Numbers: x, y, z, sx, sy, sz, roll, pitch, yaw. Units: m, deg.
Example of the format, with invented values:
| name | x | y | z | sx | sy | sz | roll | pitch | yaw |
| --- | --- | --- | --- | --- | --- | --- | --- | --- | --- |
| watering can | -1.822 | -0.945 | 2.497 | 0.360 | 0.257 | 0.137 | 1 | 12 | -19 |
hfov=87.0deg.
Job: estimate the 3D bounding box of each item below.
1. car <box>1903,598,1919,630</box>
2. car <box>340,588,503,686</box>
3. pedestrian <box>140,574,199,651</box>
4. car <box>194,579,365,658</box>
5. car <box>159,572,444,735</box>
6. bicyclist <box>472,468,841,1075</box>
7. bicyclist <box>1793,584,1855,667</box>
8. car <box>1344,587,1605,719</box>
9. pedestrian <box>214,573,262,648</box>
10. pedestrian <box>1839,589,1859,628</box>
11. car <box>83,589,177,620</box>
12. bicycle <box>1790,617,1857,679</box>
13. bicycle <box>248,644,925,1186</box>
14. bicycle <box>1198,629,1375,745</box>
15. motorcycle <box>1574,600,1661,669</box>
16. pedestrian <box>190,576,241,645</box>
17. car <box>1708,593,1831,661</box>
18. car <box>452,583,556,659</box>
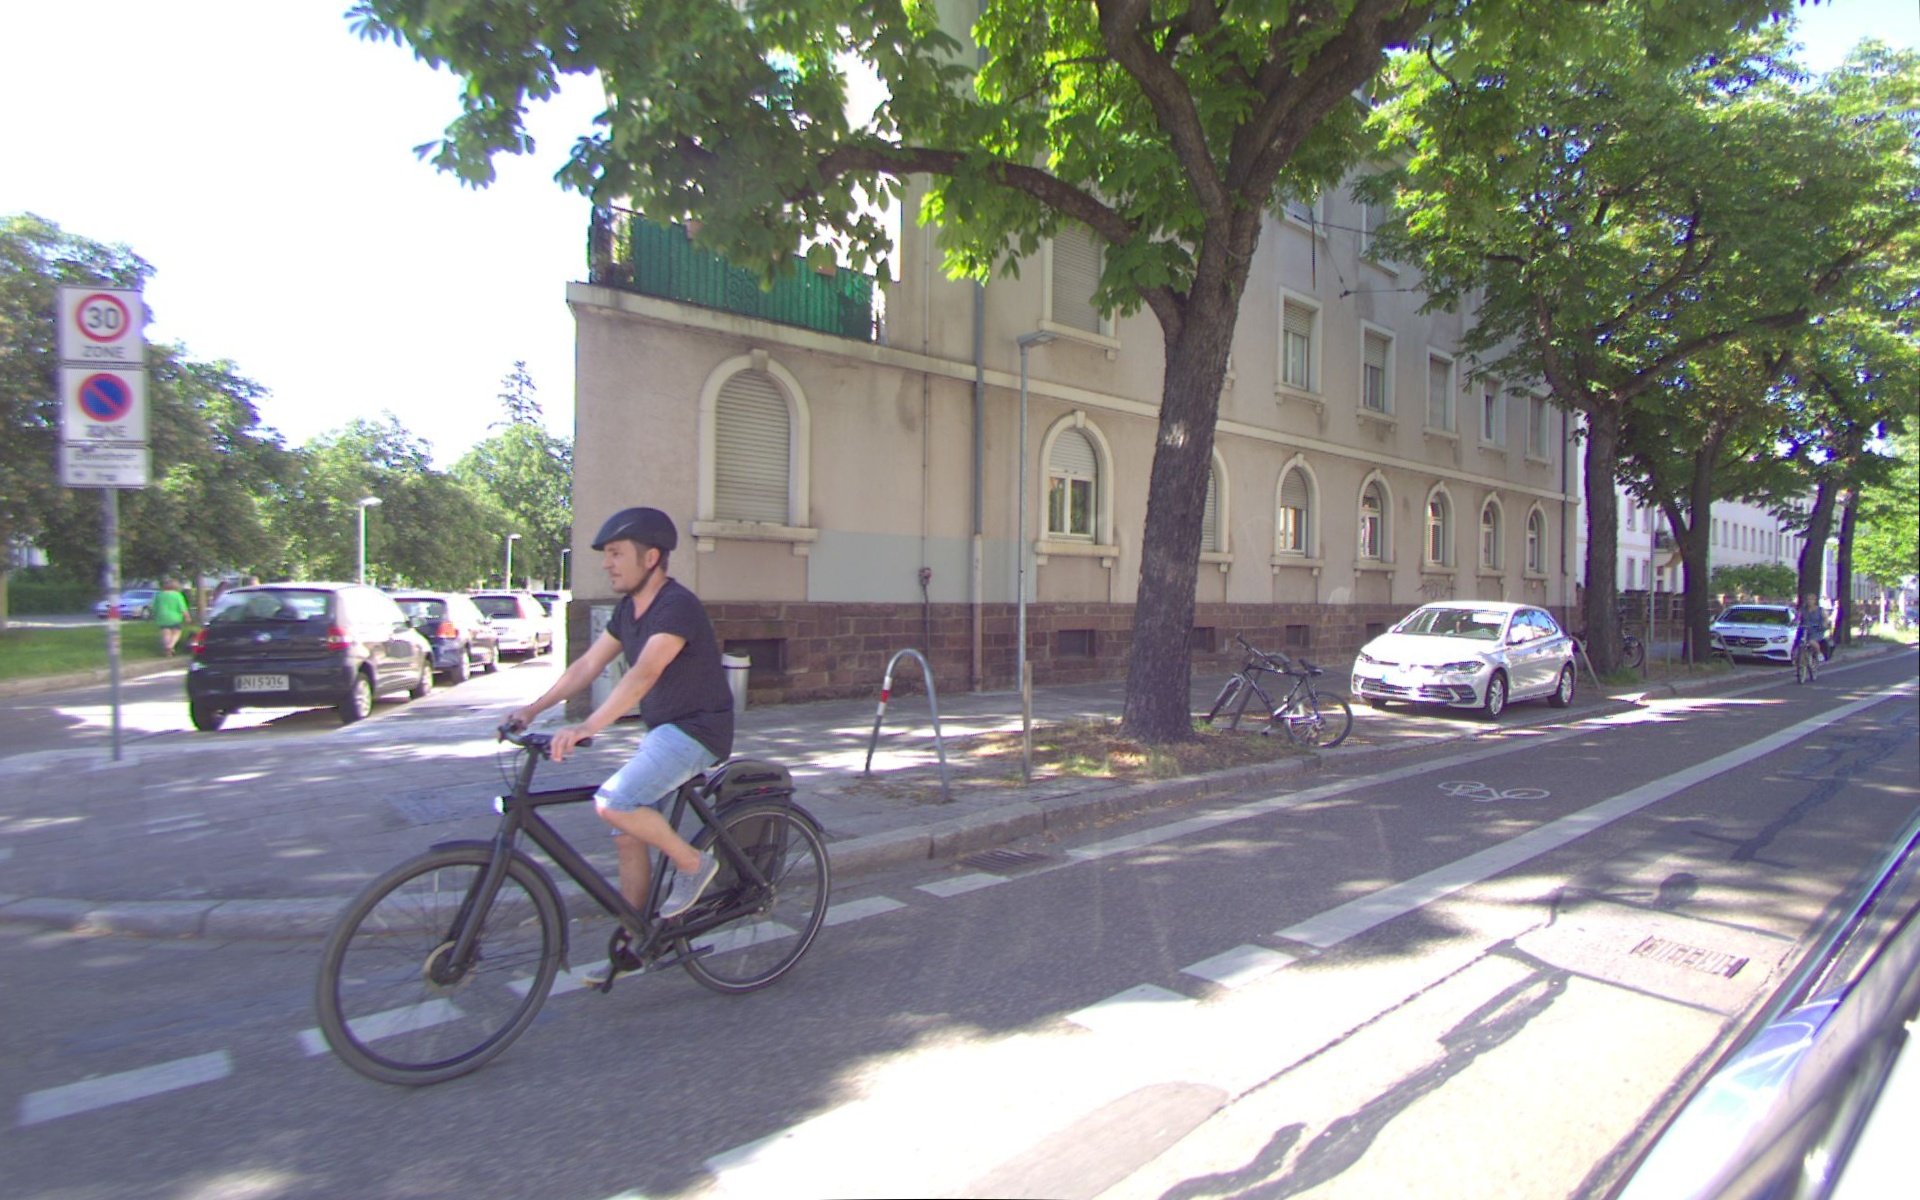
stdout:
| name | x | y | z | sx | sy | sz | roll | pitch | yaw |
| --- | --- | --- | --- | --- | --- | --- | --- | --- | --- |
| car | 46.160 | 0.674 | 48.046 | 4.537 | 1.485 | 1.758 | 0 | 2 | -44 |
| car | -8.761 | 0.524 | 16.726 | 1.539 | 1.415 | 3.366 | -1 | 1 | -13 |
| pedestrian | -16.709 | 0.255 | 21.408 | 0.826 | 1.588 | 0.575 | 0 | 0 | -17 |
| car | -15.908 | 0.359 | 23.970 | 1.895 | 1.629 | 4.629 | -2 | 1 | -15 |
| car | -7.519 | 0.513 | 11.955 | 1.687 | 1.557 | 3.447 | -3 | 1 | -13 |
| bicyclist | -1.062 | 0.496 | 3.572 | 1.028 | 1.761 | 0.762 | 0 | -1 | -41 |
| bicyclist | 16.593 | 0.463 | 19.431 | 1.209 | 1.533 | 0.775 | 0 | 0 | -44 |
| car | 7.103 | 0.611 | 13.801 | 4.140 | 1.490 | 1.705 | 0 | 2 | -41 |
| pedestrian | -18.091 | 0.251 | 25.369 | 0.826 | 1.865 | 0.575 | 0 | 0 | -17 |
| pedestrian | 46.071 | 0.436 | 52.433 | 0.740 | 2.039 | 0.678 | 1 | 0 | 41 |
| car | -37.194 | 0.169 | 45.456 | 1.770 | 1.236 | 3.878 | 3 | 0 | -15 |
| bicycle | 16.586 | 0.893 | 19.425 | 2.024 | 1.100 | 0.775 | 0 | 0 | -44 |
| bicycle | -1.154 | 0.823 | 3.485 | 2.059 | 1.258 | 0.762 | 0 | -1 | -41 |
| bicycle | 3.277 | 0.836 | 10.237 | 1.564 | 0.992 | 0.631 | 2 | 1 | 41 |
| motorcycle | 13.054 | 0.650 | 20.064 | 2.221 | 1.266 | 0.763 | 0 | 1 | -39 |
| pedestrian | -17.488 | 0.235 | 23.779 | 0.826 | 1.588 | 0.575 | 0 | 0 | -17 |
| car | 20.665 | 0.624 | 25.766 | 4.670 | 1.502 | 1.821 | 0 | 2 | -44 |
| car | -9.995 | 0.412 | 22.379 | 1.408 | 1.519 | 3.509 | -1 | 1 | -13 |
